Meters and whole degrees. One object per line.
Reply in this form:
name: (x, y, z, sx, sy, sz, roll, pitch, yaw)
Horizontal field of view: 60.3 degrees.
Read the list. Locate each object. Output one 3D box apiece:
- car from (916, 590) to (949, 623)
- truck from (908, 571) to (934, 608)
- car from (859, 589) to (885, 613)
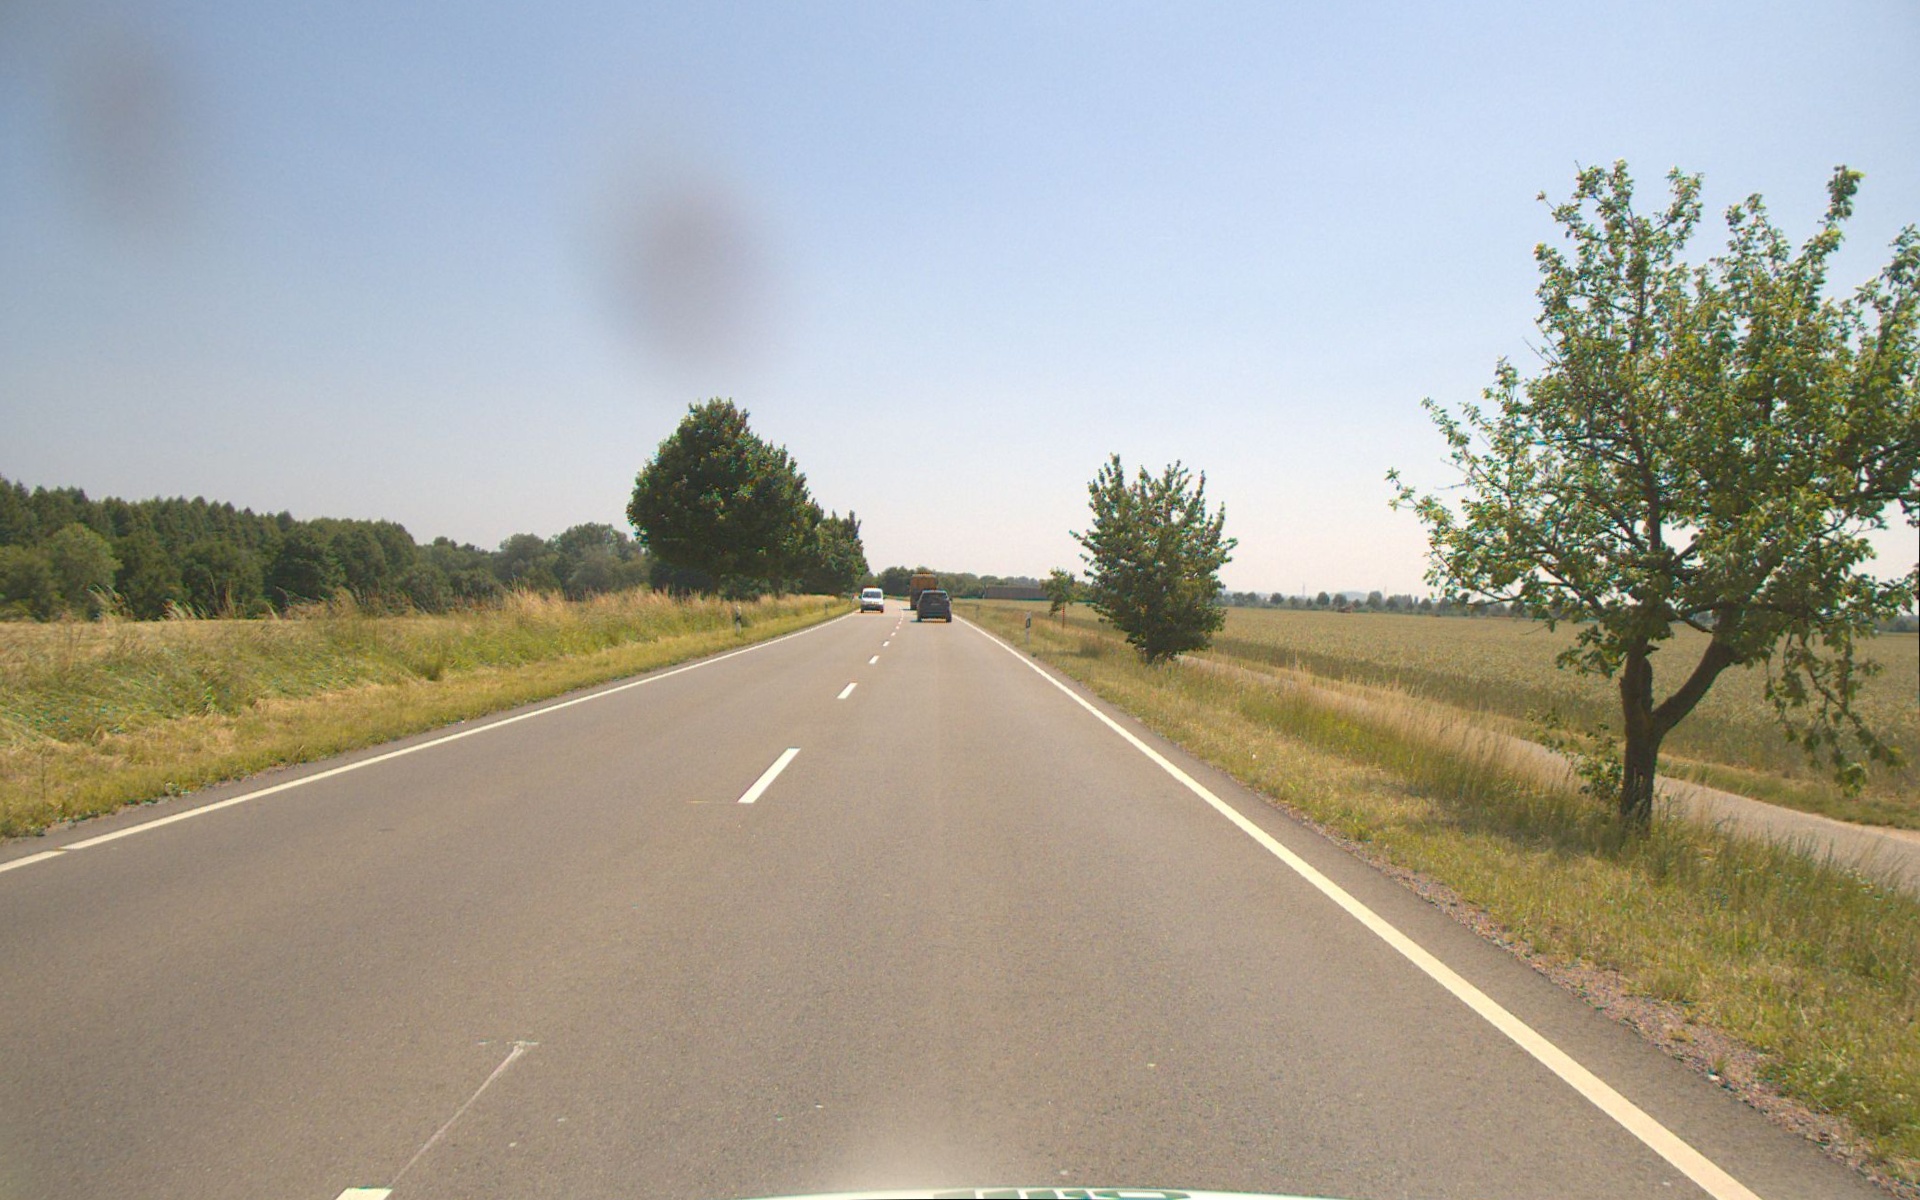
car: (-1.465, 0.334, 89.576, 1.679, 1.723, 3.988, 1, 0, 0)
truck: (-3.594, -0.907, 150.661, 2.323, 3.195, 8.744, 1, 0, -2)
car: (-6.679, 0.071, 125.638, 1.750, 1.759, 4.303, 1, 0, -1)
